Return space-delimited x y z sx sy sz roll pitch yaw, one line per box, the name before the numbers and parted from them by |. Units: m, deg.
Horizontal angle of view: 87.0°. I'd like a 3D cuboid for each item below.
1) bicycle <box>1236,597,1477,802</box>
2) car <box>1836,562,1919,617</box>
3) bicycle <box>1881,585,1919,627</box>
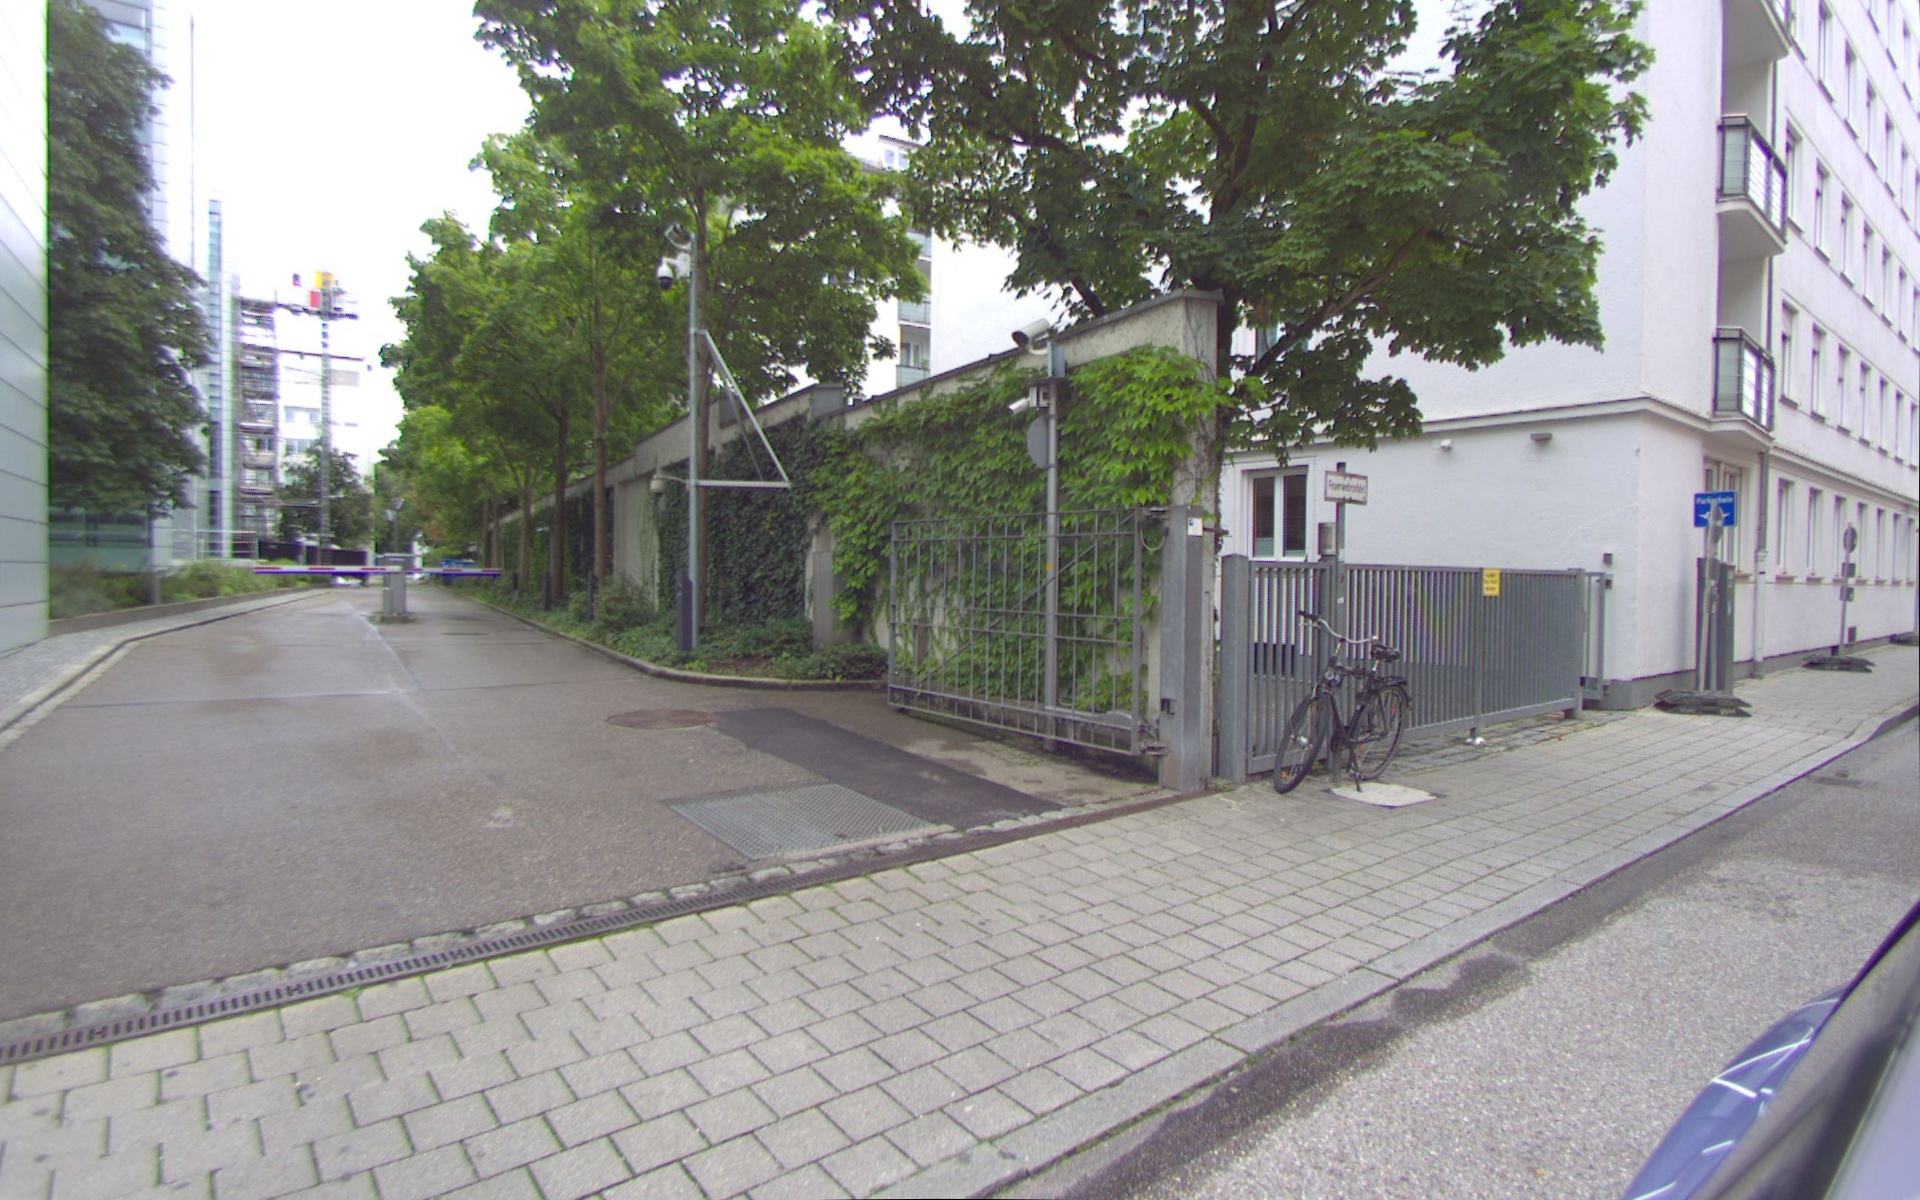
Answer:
bicycle | 2.754 0.637 6.940 1.800 1.213 0.709 3 -1 -39
car | 34.348 -0.353 35.814 1.895 1.914 4.688 0 2 -31
bicycle | 25.138 0.180 26.446 1.491 1.056 0.394 4 4 33
